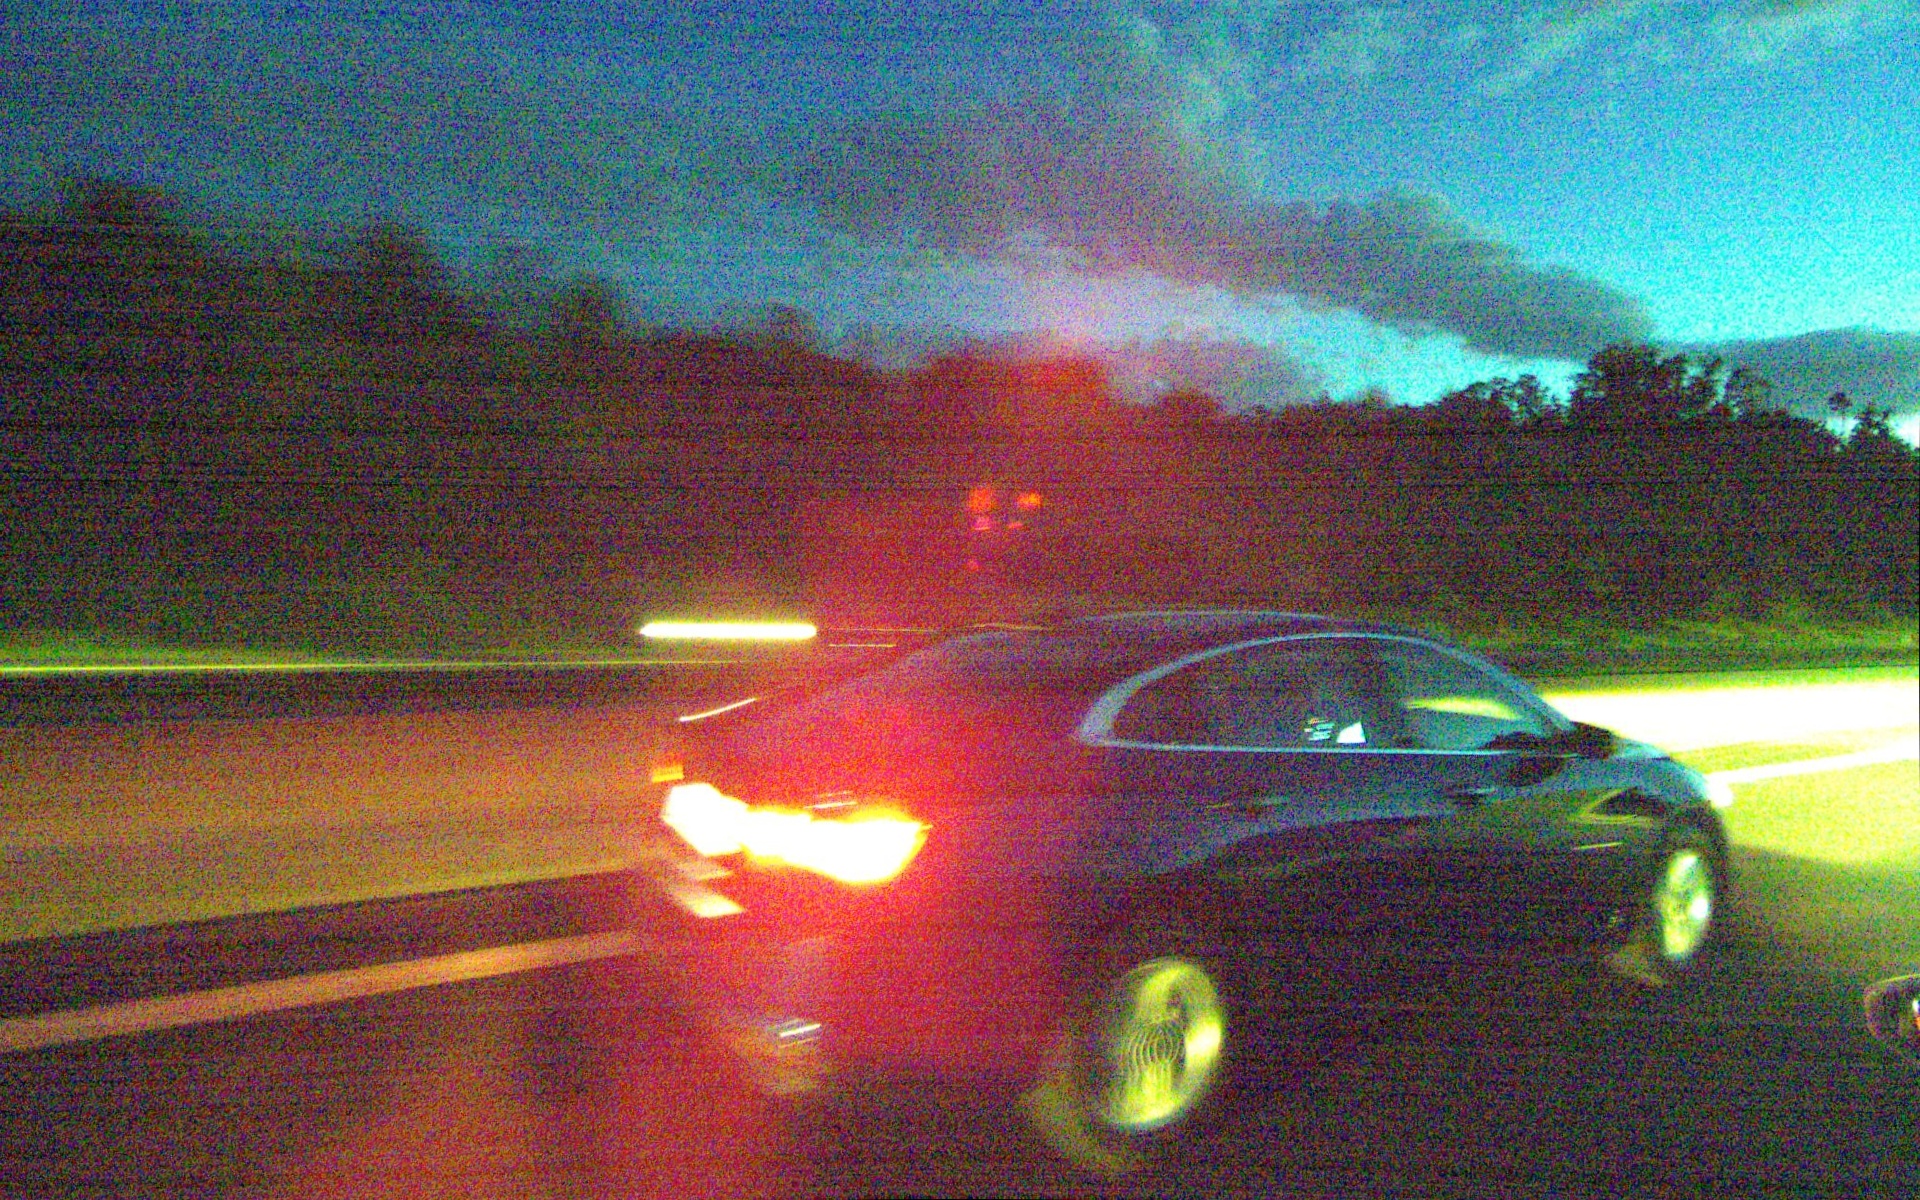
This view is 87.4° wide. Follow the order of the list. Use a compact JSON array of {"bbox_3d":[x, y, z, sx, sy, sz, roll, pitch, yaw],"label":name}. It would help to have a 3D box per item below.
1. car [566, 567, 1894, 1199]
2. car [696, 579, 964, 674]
[{"bbox_3d":[1.458,0.705,4.193,5.582,1.539,1.984,0,1,-30],"label":"car"},{"bbox_3d":[-2.566,0.514,20.109,4.832,1.690,2.233,1,0,-31],"label":"car"}]
